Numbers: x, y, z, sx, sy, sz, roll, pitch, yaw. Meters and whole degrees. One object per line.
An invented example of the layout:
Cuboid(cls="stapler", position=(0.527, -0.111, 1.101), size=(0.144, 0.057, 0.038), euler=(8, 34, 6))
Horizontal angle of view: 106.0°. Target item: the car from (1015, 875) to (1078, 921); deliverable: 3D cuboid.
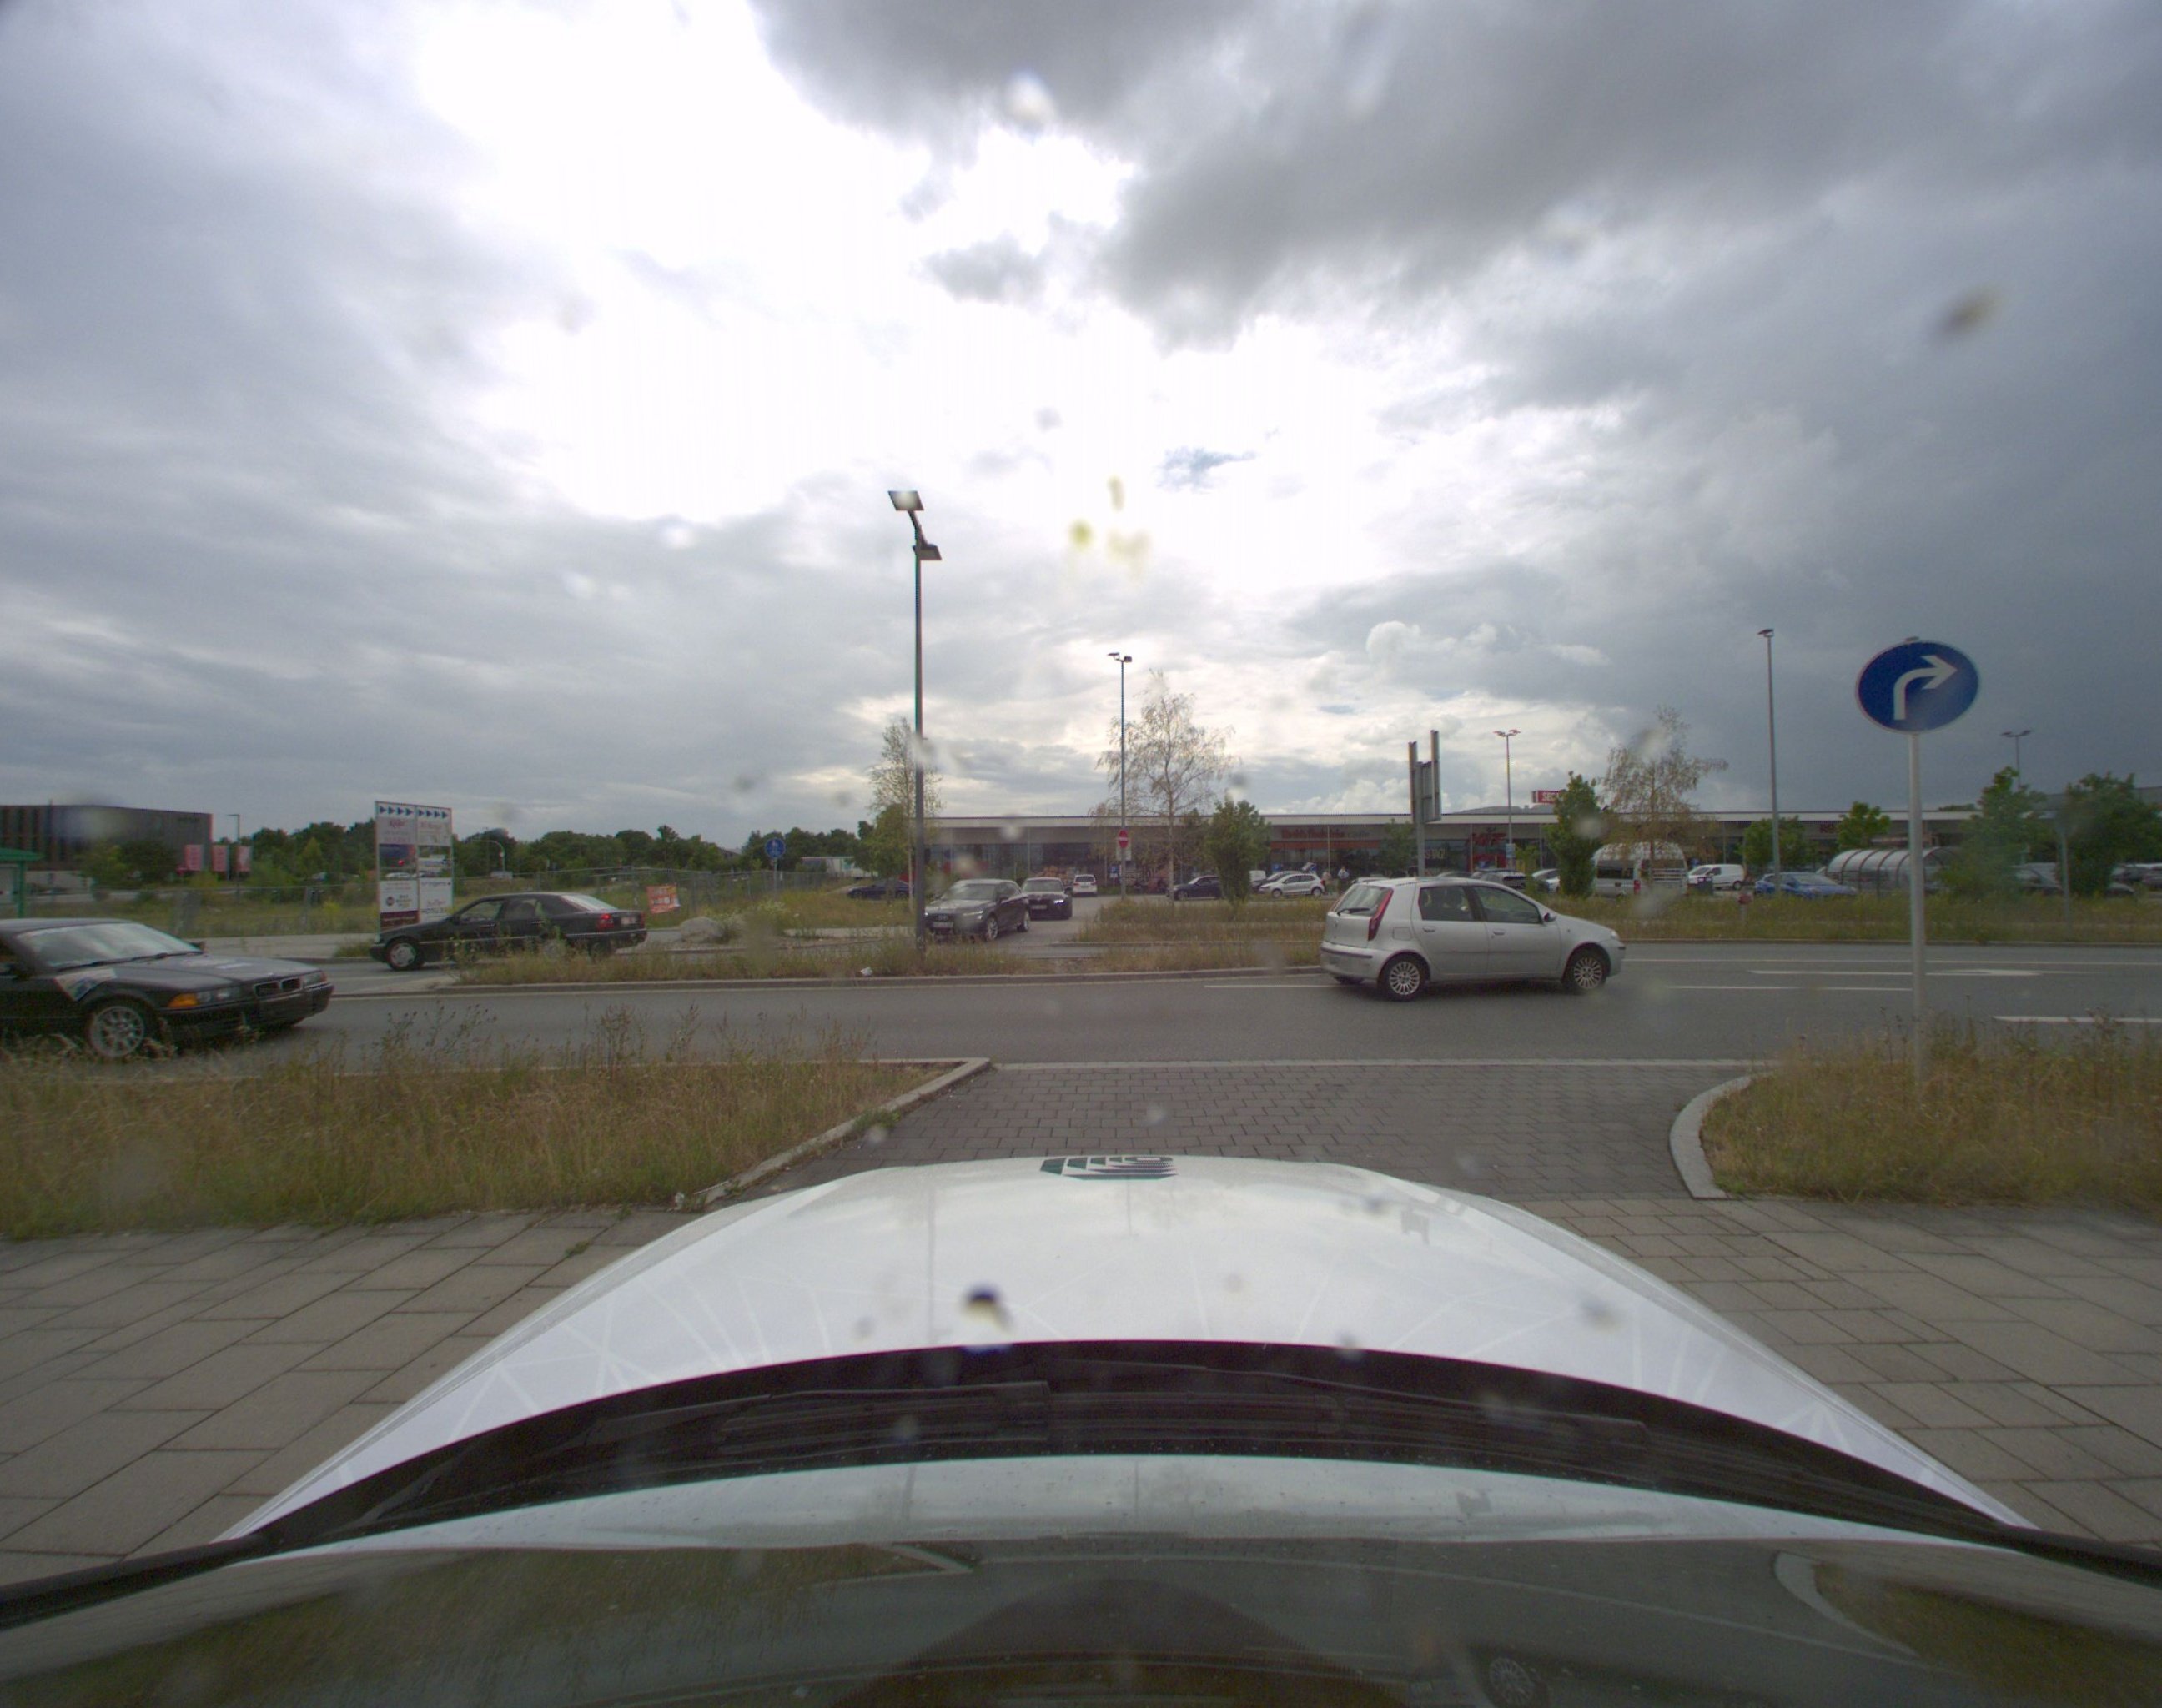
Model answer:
Cuboid(cls="car", position=(-1.104, 1.473, 28.108), size=(1.773, 1.446, 4.611), euler=(-1, -2, 2))

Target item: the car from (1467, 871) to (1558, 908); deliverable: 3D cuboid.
Cuboid(cls="car", position=(17.876, 1.466, 33.978), size=(1.978, 1.451, 4.156), euler=(0, -2, 6))

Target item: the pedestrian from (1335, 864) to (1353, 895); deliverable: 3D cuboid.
Cuboid(cls="pedestrian", position=(17.132, 1.663, 52.995), size=(0.861, 2.014, 1.004), euler=(-1, -2, 3))

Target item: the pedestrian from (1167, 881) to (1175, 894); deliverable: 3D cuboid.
Cuboid(cls="pedestrian", position=(7.743, 2.860, 70.113), size=(0.575, 1.124, 0.561), euler=(-1, -2, -5))

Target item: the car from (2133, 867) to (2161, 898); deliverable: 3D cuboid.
Cuboid(cls="car", position=(60.540, 1.548, 44.779), size=(3.825, 1.654, 1.757), euler=(-1, -1, -11))

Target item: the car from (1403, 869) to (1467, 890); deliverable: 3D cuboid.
Cuboid(cls="car", position=(26.580, 1.913, 61.287), size=(3.974, 1.508, 1.999), euler=(-1, -1, -1))

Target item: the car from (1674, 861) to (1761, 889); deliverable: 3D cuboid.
Cuboid(cls="car", position=(42.514, 1.415, 54.455), size=(4.405, 1.819, 1.997), euler=(0, -2, -4))

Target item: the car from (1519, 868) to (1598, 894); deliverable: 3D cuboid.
Cuboid(cls="car", position=(31.269, 1.767, 53.429), size=(3.966, 1.618, 2.004), euler=(-1, -2, 7))

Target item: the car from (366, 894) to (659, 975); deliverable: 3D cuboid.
Cuboid(cls="car", position=(-10.869, 1.519, 15.836), size=(4.346, 1.396, 1.789), euler=(-1, -3, -3))

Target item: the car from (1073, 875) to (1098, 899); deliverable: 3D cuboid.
Cuboid(cls="car", position=(0.377, 2.470, 61.910), size=(1.817, 1.700, 4.234), euler=(-1, -1, 1))

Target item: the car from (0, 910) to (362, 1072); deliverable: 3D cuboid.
Cuboid(cls="car", position=(-10.408, 1.350, 8.401), size=(4.277, 1.386, 1.757), euler=(-1, -1, -3))

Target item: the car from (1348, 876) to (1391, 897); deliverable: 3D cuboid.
Cuboid(cls="car", position=(22.312, 2.494, 63.118), size=(1.987, 1.508, 4.000), euler=(-1, -1, 1))

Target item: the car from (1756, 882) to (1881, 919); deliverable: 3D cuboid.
Cuboid(cls="car", position=(29.287, 1.802, 32.536), size=(1.792, 1.384, 4.162), euler=(-1, -2, 11))

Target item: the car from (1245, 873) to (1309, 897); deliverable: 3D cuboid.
Cuboid(cls="car", position=(12.613, 1.988, 52.502), size=(3.737, 1.454, 1.666), euler=(-1, -1, -2))

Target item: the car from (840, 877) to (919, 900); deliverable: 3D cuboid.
Cuboid(cls="car", position=(-13.806, 2.362, 56.131), size=(5.001, 1.558, 1.995), euler=(0, -2, -6))

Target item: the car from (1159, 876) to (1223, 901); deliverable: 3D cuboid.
Cuboid(cls="car", position=(6.564, 2.063, 48.950), size=(3.598, 1.454, 1.666), euler=(-1, -1, -3))

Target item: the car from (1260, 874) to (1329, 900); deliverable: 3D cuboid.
Cuboid(cls="car", position=(12.897, 1.984, 49.365), size=(3.737, 1.454, 1.666), euler=(-1, -1, -2))

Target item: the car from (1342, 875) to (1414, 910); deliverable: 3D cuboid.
Cuboid(cls="car", position=(12.586, 1.617, 34.783), size=(1.978, 1.384, 4.156), euler=(0, -2, 6))

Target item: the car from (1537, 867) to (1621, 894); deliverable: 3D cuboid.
Cuboid(cls="car", position=(30.979, 1.644, 50.785), size=(3.966, 1.618, 2.004), euler=(-1, -2, 7))

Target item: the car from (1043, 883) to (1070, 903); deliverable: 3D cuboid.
Cuboid(cls="car", position=(-1.825, 2.930, 61.808), size=(1.900, 1.444, 4.000), euler=(-1, -1, 1))

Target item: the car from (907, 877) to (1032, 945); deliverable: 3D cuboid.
Cuboid(cls="car", position=(-2.647, 1.345, 20.459), size=(1.780, 1.467, 4.334), euler=(-1, -1, 11))

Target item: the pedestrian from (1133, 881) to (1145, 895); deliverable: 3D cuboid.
Cuboid(cls="pedestrian", position=(5.088, 2.962, 71.448), size=(0.968, 1.154, 1.131), euler=(-1, -1, -3))

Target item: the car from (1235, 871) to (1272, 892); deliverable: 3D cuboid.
Cuboid(cls="car", position=(13.256, 2.109, 62.779), size=(1.987, 1.508, 4.000), euler=(-1, -1, 1))

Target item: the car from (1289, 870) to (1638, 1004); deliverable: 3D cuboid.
Cuboid(cls="car", position=(4.880, 0.992, 10.657), size=(3.802, 1.461, 1.796), euler=(-1, 0, -9))

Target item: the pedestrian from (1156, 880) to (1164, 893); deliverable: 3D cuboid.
Cuboid(cls="pedestrian", position=(6.899, 2.855, 71.034), size=(0.575, 1.124, 0.561), euler=(-1, -2, -5))

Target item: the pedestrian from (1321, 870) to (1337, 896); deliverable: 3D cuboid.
Cuboid(cls="pedestrian", position=(15.906, 1.849, 52.275), size=(0.818, 1.632, 0.900), euler=(0, -2, 3))

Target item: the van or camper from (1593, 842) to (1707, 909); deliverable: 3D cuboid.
Cuboid(cls="van or camper", position=(22.540, 0.875, 32.473), size=(2.268, 2.493, 4.012), euler=(-1, -2, 12))
